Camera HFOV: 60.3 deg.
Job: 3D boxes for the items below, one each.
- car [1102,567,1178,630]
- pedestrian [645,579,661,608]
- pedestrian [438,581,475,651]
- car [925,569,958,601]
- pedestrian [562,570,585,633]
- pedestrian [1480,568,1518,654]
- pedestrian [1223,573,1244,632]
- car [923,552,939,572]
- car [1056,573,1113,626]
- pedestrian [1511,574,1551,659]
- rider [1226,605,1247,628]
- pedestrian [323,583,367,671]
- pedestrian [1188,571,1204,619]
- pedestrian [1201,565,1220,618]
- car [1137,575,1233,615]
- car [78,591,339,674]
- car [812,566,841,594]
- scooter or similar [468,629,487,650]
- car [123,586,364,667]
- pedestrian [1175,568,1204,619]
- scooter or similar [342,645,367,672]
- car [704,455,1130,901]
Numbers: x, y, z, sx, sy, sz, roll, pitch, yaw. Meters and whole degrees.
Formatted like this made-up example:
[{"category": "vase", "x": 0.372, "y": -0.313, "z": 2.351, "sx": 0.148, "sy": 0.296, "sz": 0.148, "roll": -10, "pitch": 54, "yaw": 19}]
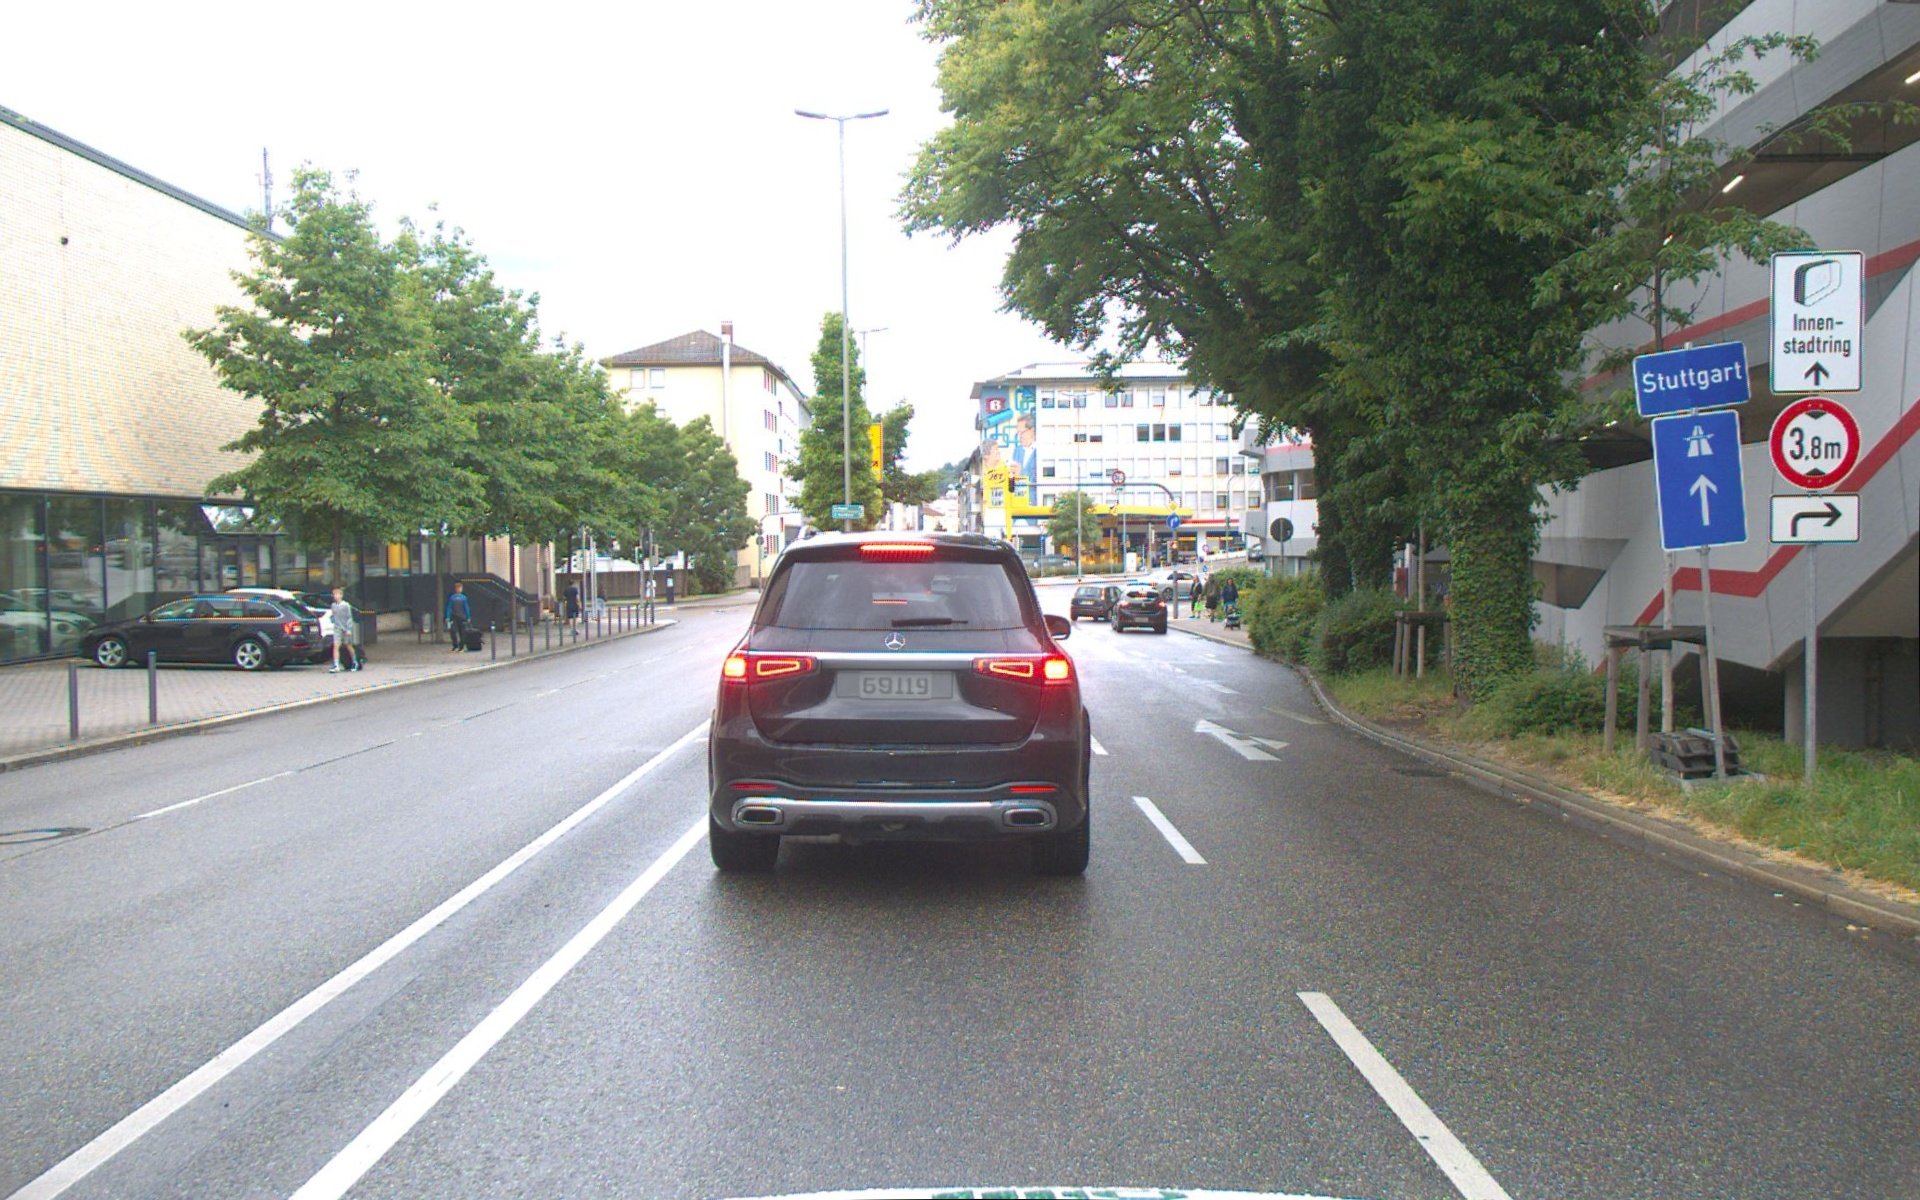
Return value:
[{"category": "car", "x": 6.064, "y": -0.085, "z": 56.105, "sx": 1.953, "sy": 2.049, "sz": 3.998, "roll": 0, "pitch": 1, "yaw": -2}, {"category": "pedestrian", "x": -15.973, "y": -0.326, "z": 85.997, "sx": 0.697, "sy": 1.487, "sz": 0.598, "roll": 1, "pitch": -1, "yaw": -2}, {"category": "pedestrian", "x": -12.949, "y": 0.422, "z": 42.566, "sx": 0.674, "sy": 1.756, "sz": 0.754, "roll": 1, "pitch": -3, "yaw": -2}, {"category": "car", "x": -1.253, "y": -0.970, "z": 110.133, "sx": 1.954, "sy": 2.049, "sz": 3.997, "roll": 1, "pitch": 0, "yaw": -3}, {"category": "pedestrian", "x": -12.668, "y": 0.051, "z": 54.197, "sx": 0.576, "sy": 2.049, "sz": 0.749, "roll": 1, "pitch": -1, "yaw": -3}, {"category": "pedestrian", "x": 9.885, "y": 0.198, "z": 30.332, "sx": 0.539, "sy": 1.559, "sz": 0.488, "roll": 1, "pitch": -1, "yaw": 5}, {"category": "pedestrian", "x": 9.225, "y": 0.089, "z": 55.749, "sx": 0.648, "sy": 1.951, "sz": 0.729, "roll": 1, "pitch": -1, "yaw": 9}, {"category": "car", "x": -3.873, "y": -5.060, "z": 220.003, "sx": 1.953, "sy": 2.045, "sz": 4.007, "roll": 1, "pitch": 11, "yaw": -2}, {"category": "car", "x": 5.000, "y": -0.011, "z": 67.025, "sx": 1.953, "sy": 2.049, "sz": 3.999, "roll": 1, "pitch": 0, "yaw": 0}, {"category": "pedestrian", "x": 10.449, "y": 0.301, "z": 30.286, "sx": 0.569, "sy": 1.527, "sz": 0.504, "roll": 1, "pitch": -1, "yaw": 4}, {"category": "rider", "x": 9.194, "y": 0.540, "z": 55.025, "sx": 0.679, "sy": 0.753, "sz": 0.633, "roll": 1, "pitch": 0, "yaw": 7}, {"category": "pedestrian", "x": -12.209, "y": 0.532, "z": 32.863, "sx": 0.662, "sy": 1.727, "sz": 0.479, "roll": 1, "pitch": 0, "yaw": -1}, {"category": "pedestrian", "x": 9.652, "y": -0.186, "z": 67.663, "sx": 0.509, "sy": 1.944, "sz": 0.556, "roll": 1, "pitch": -1, "yaw": -1}, {"category": "pedestrian", "x": 9.508, "y": -0.322, "z": 62.792, "sx": 0.607, "sy": 1.969, "sz": 0.610, "roll": 1, "pitch": -1, "yaw": -1}, {"category": "car", "x": 11.876, "y": -0.292, "z": 87.428, "sx": 4.715, "sy": 2.049, "sz": 1.996, "roll": 0, "pitch": 1, "yaw": -9}, {"category": "car", "x": -15.081, "y": 0.632, "z": 33.403, "sx": 4.383, "sy": 1.615, "sz": 1.997, "roll": 0, "pitch": 0, "yaw": -7}, {"category": "car", "x": -9.905, "y": -1.472, "z": 123.163, "sx": 1.953, "sy": 1.908, "sz": 5.139, "roll": 1, "pitch": 0, "yaw": -2}, {"category": "scooter or similar", "x": -12.702, "y": 1.034, "z": 43.532, "sx": 0.352, "sy": 0.545, "sz": 0.499, "roll": 1, "pitch": -2, "yaw": -2}, {"category": "car", "x": -15.299, "y": 0.553, "z": 35.507, "sx": 4.332, "sy": 1.601, "sz": 1.998, "roll": 1, "pitch": 2, "yaw": -7}, {"category": "pedestrian", "x": 9.508, "y": -0.271, "z": 68.638, "sx": 1.005, "sy": 2.049, "sz": 0.998, "roll": 1, "pitch": 0, "yaw": -2}, {"category": "scooter or similar", "x": -12.183, "y": 1.176, "z": 33.261, "sx": 0.274, "sy": 0.509, "sz": 0.616, "roll": 1, "pitch": 0, "yaw": -1}, {"category": "car", "x": -0.260, "y": 0.377, "z": 9.722, "sx": 1.953, "sy": 2.049, "sz": 3.998, "roll": 1, "pitch": 0, "yaw": -2}]
